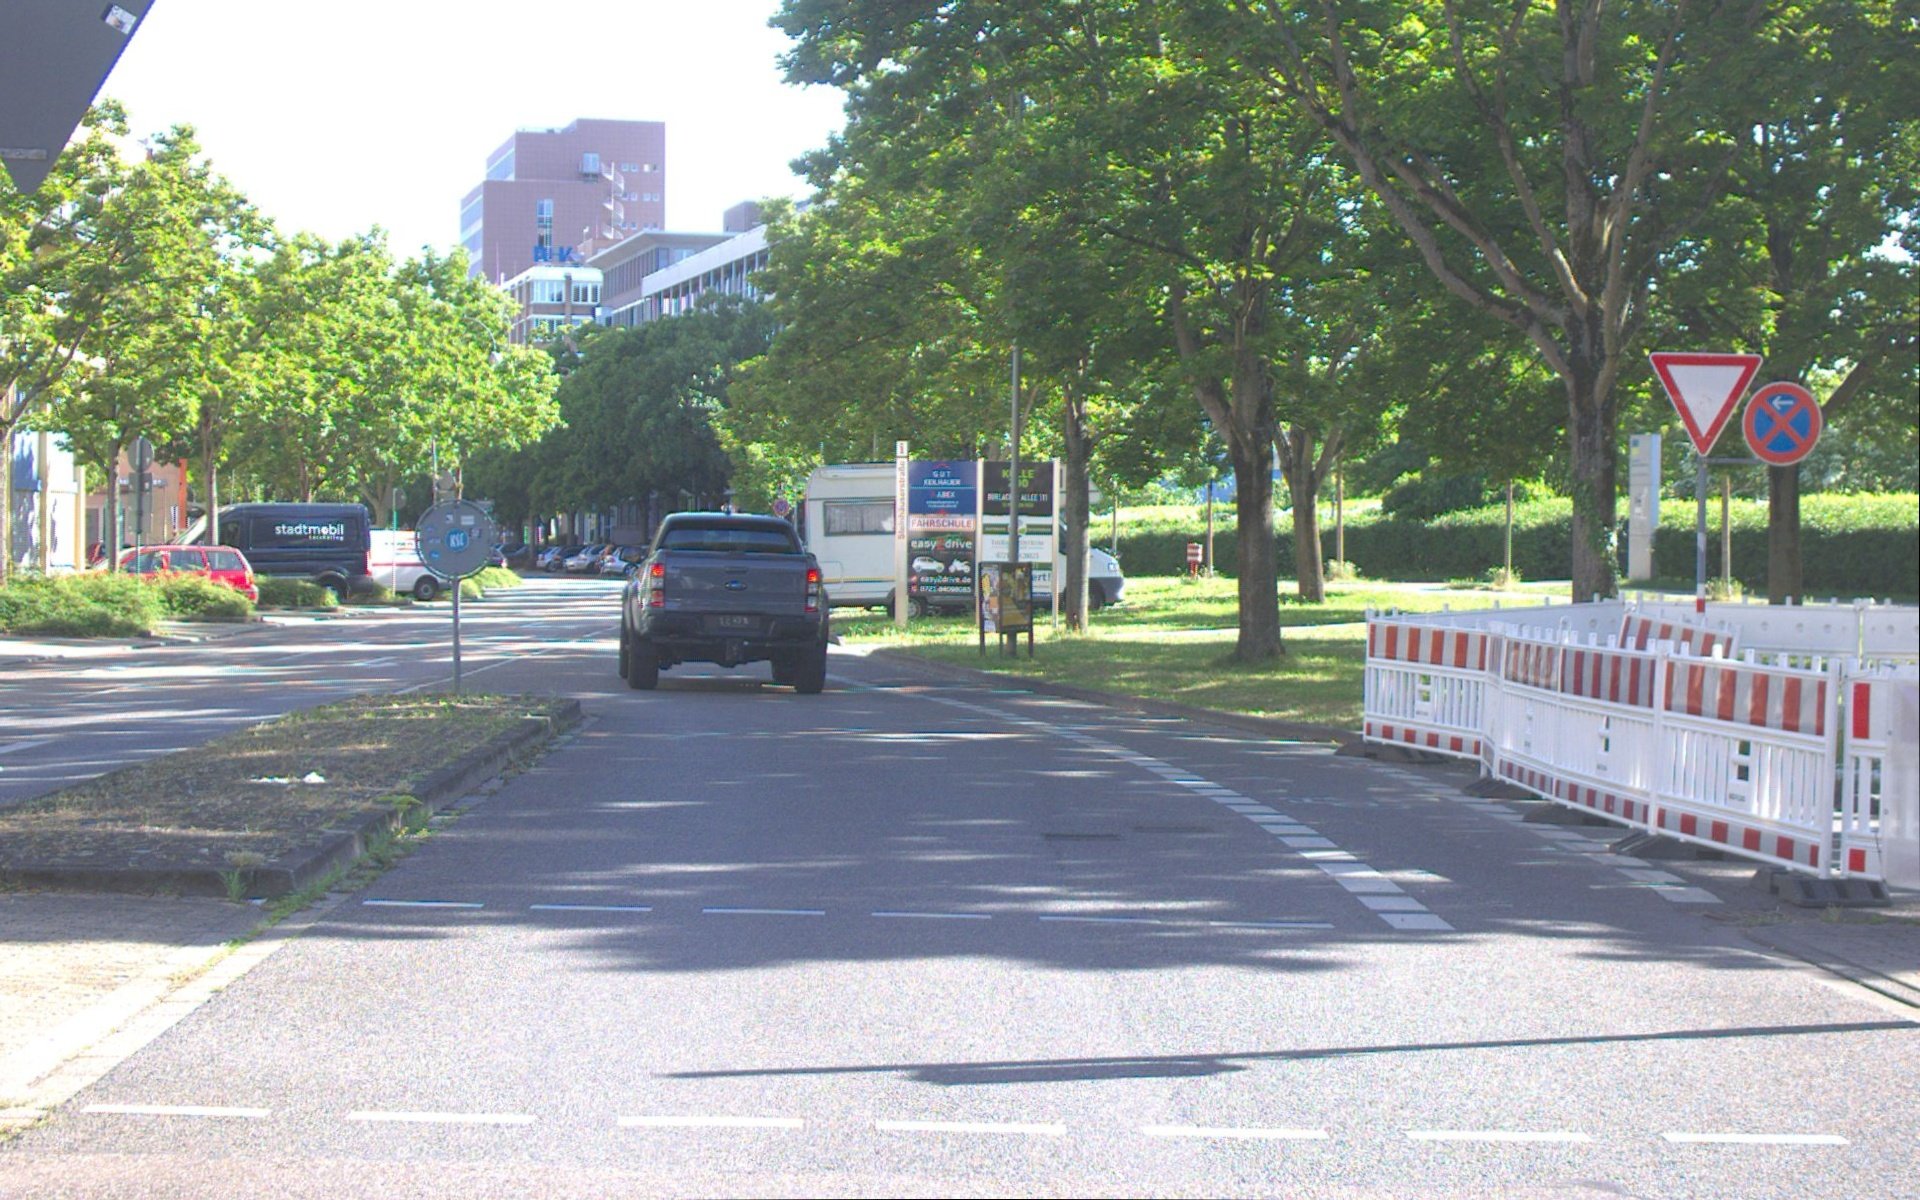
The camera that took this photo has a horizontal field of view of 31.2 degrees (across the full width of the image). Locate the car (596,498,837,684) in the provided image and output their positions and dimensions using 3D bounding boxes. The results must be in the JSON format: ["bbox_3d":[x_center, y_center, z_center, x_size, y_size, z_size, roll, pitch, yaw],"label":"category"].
[{"bbox_3d":[-2.662,-0.145,36.468,2.132,1.829,4.942,0,1,-9],"label":"car"}]

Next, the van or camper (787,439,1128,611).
[{"bbox_3d":[-0.102,-1.387,63.566,6.078,2.918,2.576,-2,1,-3],"label":"van or camper"}]

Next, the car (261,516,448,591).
[{"bbox_3d":[-17.223,-1.326,97.939,4.885,2.076,1.985,-1,1,-37],"label":"car"}]

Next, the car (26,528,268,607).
[{"bbox_3d":[-16.372,-0.658,69.244,4.406,1.547,1.922,0,1,-27],"label":"car"}]

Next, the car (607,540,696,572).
[{"bbox_3d":[-14.419,-2.058,160.531,3.946,1.392,1.517,-2,1,-11],"label":"car"}]

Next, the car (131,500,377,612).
[{"bbox_3d":[-16.392,-1.036,79.923,5.260,2.537,1.986,0,1,-28],"label":"car"}]
